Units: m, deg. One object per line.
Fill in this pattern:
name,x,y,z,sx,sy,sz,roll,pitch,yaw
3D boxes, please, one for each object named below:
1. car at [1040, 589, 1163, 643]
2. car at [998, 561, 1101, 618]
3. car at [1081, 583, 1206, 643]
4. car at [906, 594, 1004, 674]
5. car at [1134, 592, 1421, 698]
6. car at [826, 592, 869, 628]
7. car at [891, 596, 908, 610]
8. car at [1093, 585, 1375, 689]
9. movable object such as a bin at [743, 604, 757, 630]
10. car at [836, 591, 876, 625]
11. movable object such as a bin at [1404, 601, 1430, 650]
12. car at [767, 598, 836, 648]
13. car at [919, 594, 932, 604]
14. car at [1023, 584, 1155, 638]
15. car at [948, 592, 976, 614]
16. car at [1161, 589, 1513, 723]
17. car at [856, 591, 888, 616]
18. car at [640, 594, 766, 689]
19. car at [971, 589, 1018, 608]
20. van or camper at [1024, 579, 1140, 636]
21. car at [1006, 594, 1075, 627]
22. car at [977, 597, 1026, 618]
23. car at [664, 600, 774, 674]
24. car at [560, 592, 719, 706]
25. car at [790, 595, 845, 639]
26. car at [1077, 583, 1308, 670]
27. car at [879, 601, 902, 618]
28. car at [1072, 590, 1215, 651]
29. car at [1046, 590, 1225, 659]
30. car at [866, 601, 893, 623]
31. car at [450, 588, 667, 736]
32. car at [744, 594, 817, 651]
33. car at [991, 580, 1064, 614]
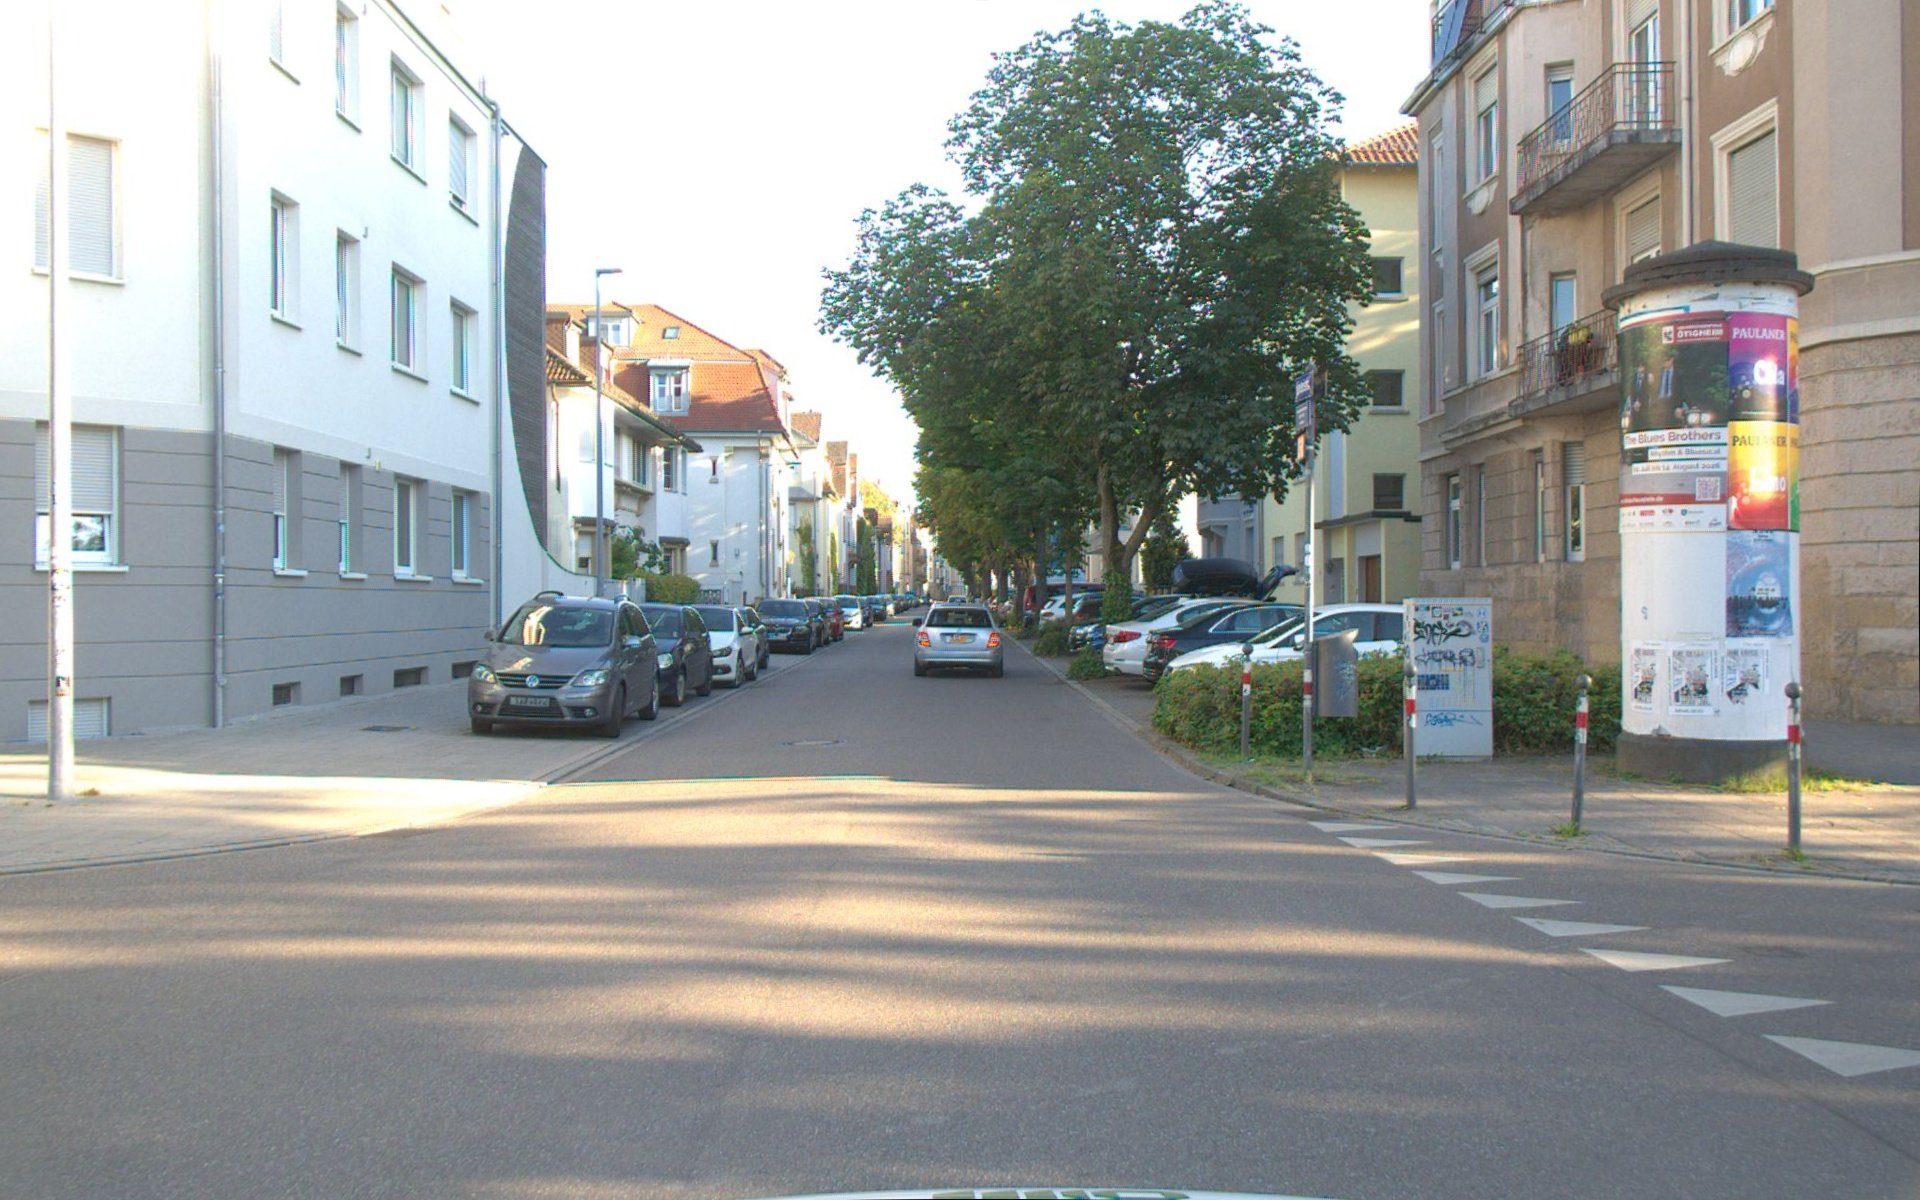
car,4.380,0.488,51.620,3.655,1.585,1.725,-1,0,-2
car,4.900,-0.566,91.170,5.431,3.020,2.471,-1,0,-3
car,5.409,0.368,48.974,3.476,1.683,1.725,-1,0,-2
car,-0.042,0.676,33.319,1.779,1.498,4.217,0,-1,2
car,4.845,0.674,25.587,4.059,1.473,1.673,-2,0,-2
car,-4.975,0.446,73.350,1.625,1.526,3.753,0,0,0
car,-6.691,0.324,181.863,1.762,1.411,3.606,0,0,-1
car,4.628,0.591,28.326,4.391,1.552,1.951,-2,1,-6
movable object such as a bin,-9.204,0.755,72.506,0.517,1.127,0.589,0,-1,-1
car,-5.184,0.377,82.804,1.762,1.673,3.857,0,0,-1
movable object such as a bin,10.437,0.576,37.749,0.446,1.105,0.532,0,-1,0
car,-5.034,0.719,53.122,1.747,1.524,4.699,0,0,0
car,-5.139,-0.192,246.972,1.762,1.411,3.606,0,0,-1
car,4.535,0.385,58.686,4.531,1.869,1.953,0,0,-1
car,0.133,0.214,114.162,1.779,1.498,4.217,0,-1,2
car,4.641,0.671,20.780,3.966,1.532,1.861,-1,0,-2
car,-5.347,0.201,100.780,1.762,1.508,3.857,0,0,-1
car,-4.631,0.705,30.345,1.846,1.619,4.088,0,0,-3
car,2.823,-0.141,134.100,3.765,1.508,1.805,-1,0,0
van or camper,4.510,0.264,61.497,4.223,2.049,2.001,0,0,2
car,4.285,0.566,88.353,3.522,1.689,1.649,-1,0,-3
car,3.182,0.575,127.922,3.765,1.508,1.805,-1,0,0
car,-5.043,0.743,35.086,1.722,1.473,4.142,0,0,0
car,-4.870,0.694,25.676,1.846,1.619,4.088,0,0,-3
car,-5.020,0.591,58.780,1.625,1.514,3.753,0,0,0
car,4.714,0.525,33.969,4.435,1.669,1.873,-1,0,-2
car,-5.896,0.783,140.817,1.762,1.411,3.606,0,0,-1
car,5.103,0.562,46.406,3.844,1.585,1.726,-1,1,1
car,4.232,0.582,40.251,4.105,1.585,1.873,-1,0,-2
car,-5.673,0.846,117.229,1.762,1.508,3.857,0,0,-1
car,-4.801,0.686,20.361,1.846,1.619,4.088,0,0,-3
car,-5.039,0.616,46.962,1.817,1.524,4.652,0,0,-3
car,4.226,-0.208,104.222,4.428,2.049,2.250,-1,0,-2
